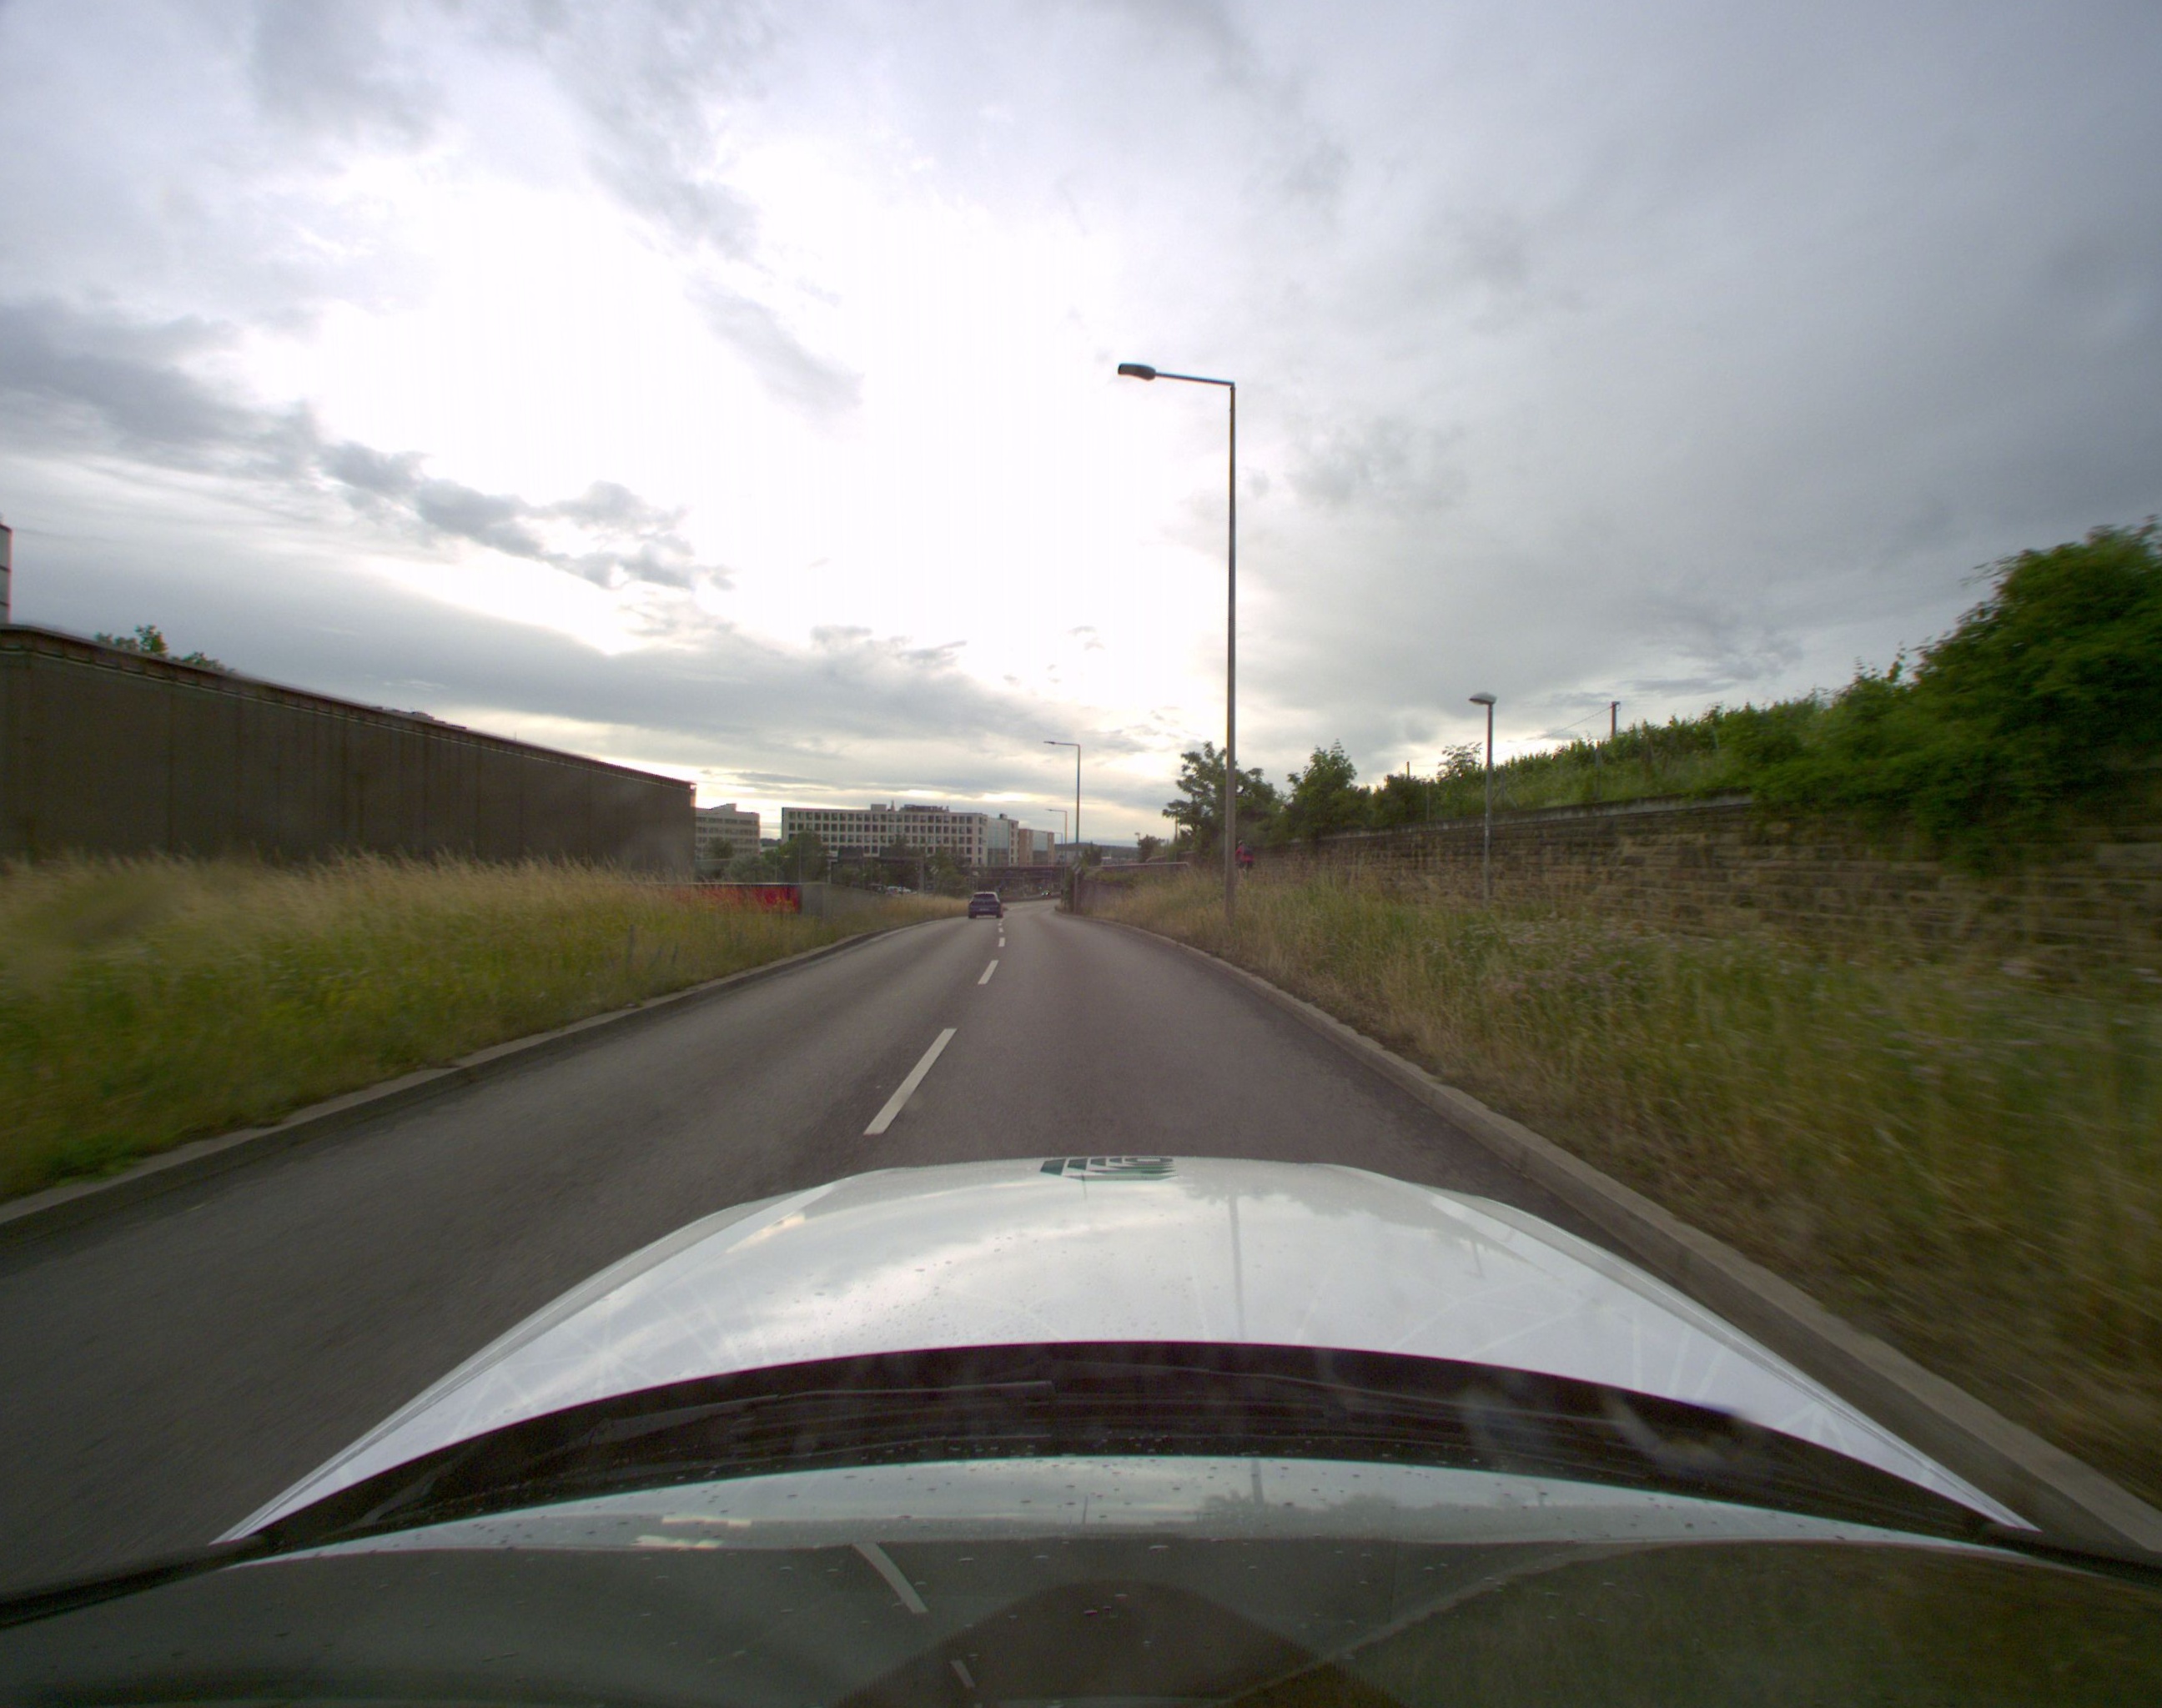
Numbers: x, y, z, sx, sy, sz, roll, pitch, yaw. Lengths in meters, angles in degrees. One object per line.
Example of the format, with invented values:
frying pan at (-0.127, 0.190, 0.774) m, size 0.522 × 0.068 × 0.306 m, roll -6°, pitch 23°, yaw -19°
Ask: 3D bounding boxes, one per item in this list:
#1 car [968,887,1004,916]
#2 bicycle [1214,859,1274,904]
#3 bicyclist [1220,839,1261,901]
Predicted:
car at (-5.238, 2.578, 45.152) m, size 1.745 × 1.420 × 3.474 m, roll 0°, pitch 0°, yaw -3°
bicycle at (5.087, 0.830, 25.772) m, size 0.868 × 1.288 × 3.480 m, roll 2°, pitch 0°, yaw -5°
bicyclist at (5.048, 0.504, 25.879) m, size 0.868 × 1.908 × 1.291 m, roll 2°, pitch -1°, yaw -6°
